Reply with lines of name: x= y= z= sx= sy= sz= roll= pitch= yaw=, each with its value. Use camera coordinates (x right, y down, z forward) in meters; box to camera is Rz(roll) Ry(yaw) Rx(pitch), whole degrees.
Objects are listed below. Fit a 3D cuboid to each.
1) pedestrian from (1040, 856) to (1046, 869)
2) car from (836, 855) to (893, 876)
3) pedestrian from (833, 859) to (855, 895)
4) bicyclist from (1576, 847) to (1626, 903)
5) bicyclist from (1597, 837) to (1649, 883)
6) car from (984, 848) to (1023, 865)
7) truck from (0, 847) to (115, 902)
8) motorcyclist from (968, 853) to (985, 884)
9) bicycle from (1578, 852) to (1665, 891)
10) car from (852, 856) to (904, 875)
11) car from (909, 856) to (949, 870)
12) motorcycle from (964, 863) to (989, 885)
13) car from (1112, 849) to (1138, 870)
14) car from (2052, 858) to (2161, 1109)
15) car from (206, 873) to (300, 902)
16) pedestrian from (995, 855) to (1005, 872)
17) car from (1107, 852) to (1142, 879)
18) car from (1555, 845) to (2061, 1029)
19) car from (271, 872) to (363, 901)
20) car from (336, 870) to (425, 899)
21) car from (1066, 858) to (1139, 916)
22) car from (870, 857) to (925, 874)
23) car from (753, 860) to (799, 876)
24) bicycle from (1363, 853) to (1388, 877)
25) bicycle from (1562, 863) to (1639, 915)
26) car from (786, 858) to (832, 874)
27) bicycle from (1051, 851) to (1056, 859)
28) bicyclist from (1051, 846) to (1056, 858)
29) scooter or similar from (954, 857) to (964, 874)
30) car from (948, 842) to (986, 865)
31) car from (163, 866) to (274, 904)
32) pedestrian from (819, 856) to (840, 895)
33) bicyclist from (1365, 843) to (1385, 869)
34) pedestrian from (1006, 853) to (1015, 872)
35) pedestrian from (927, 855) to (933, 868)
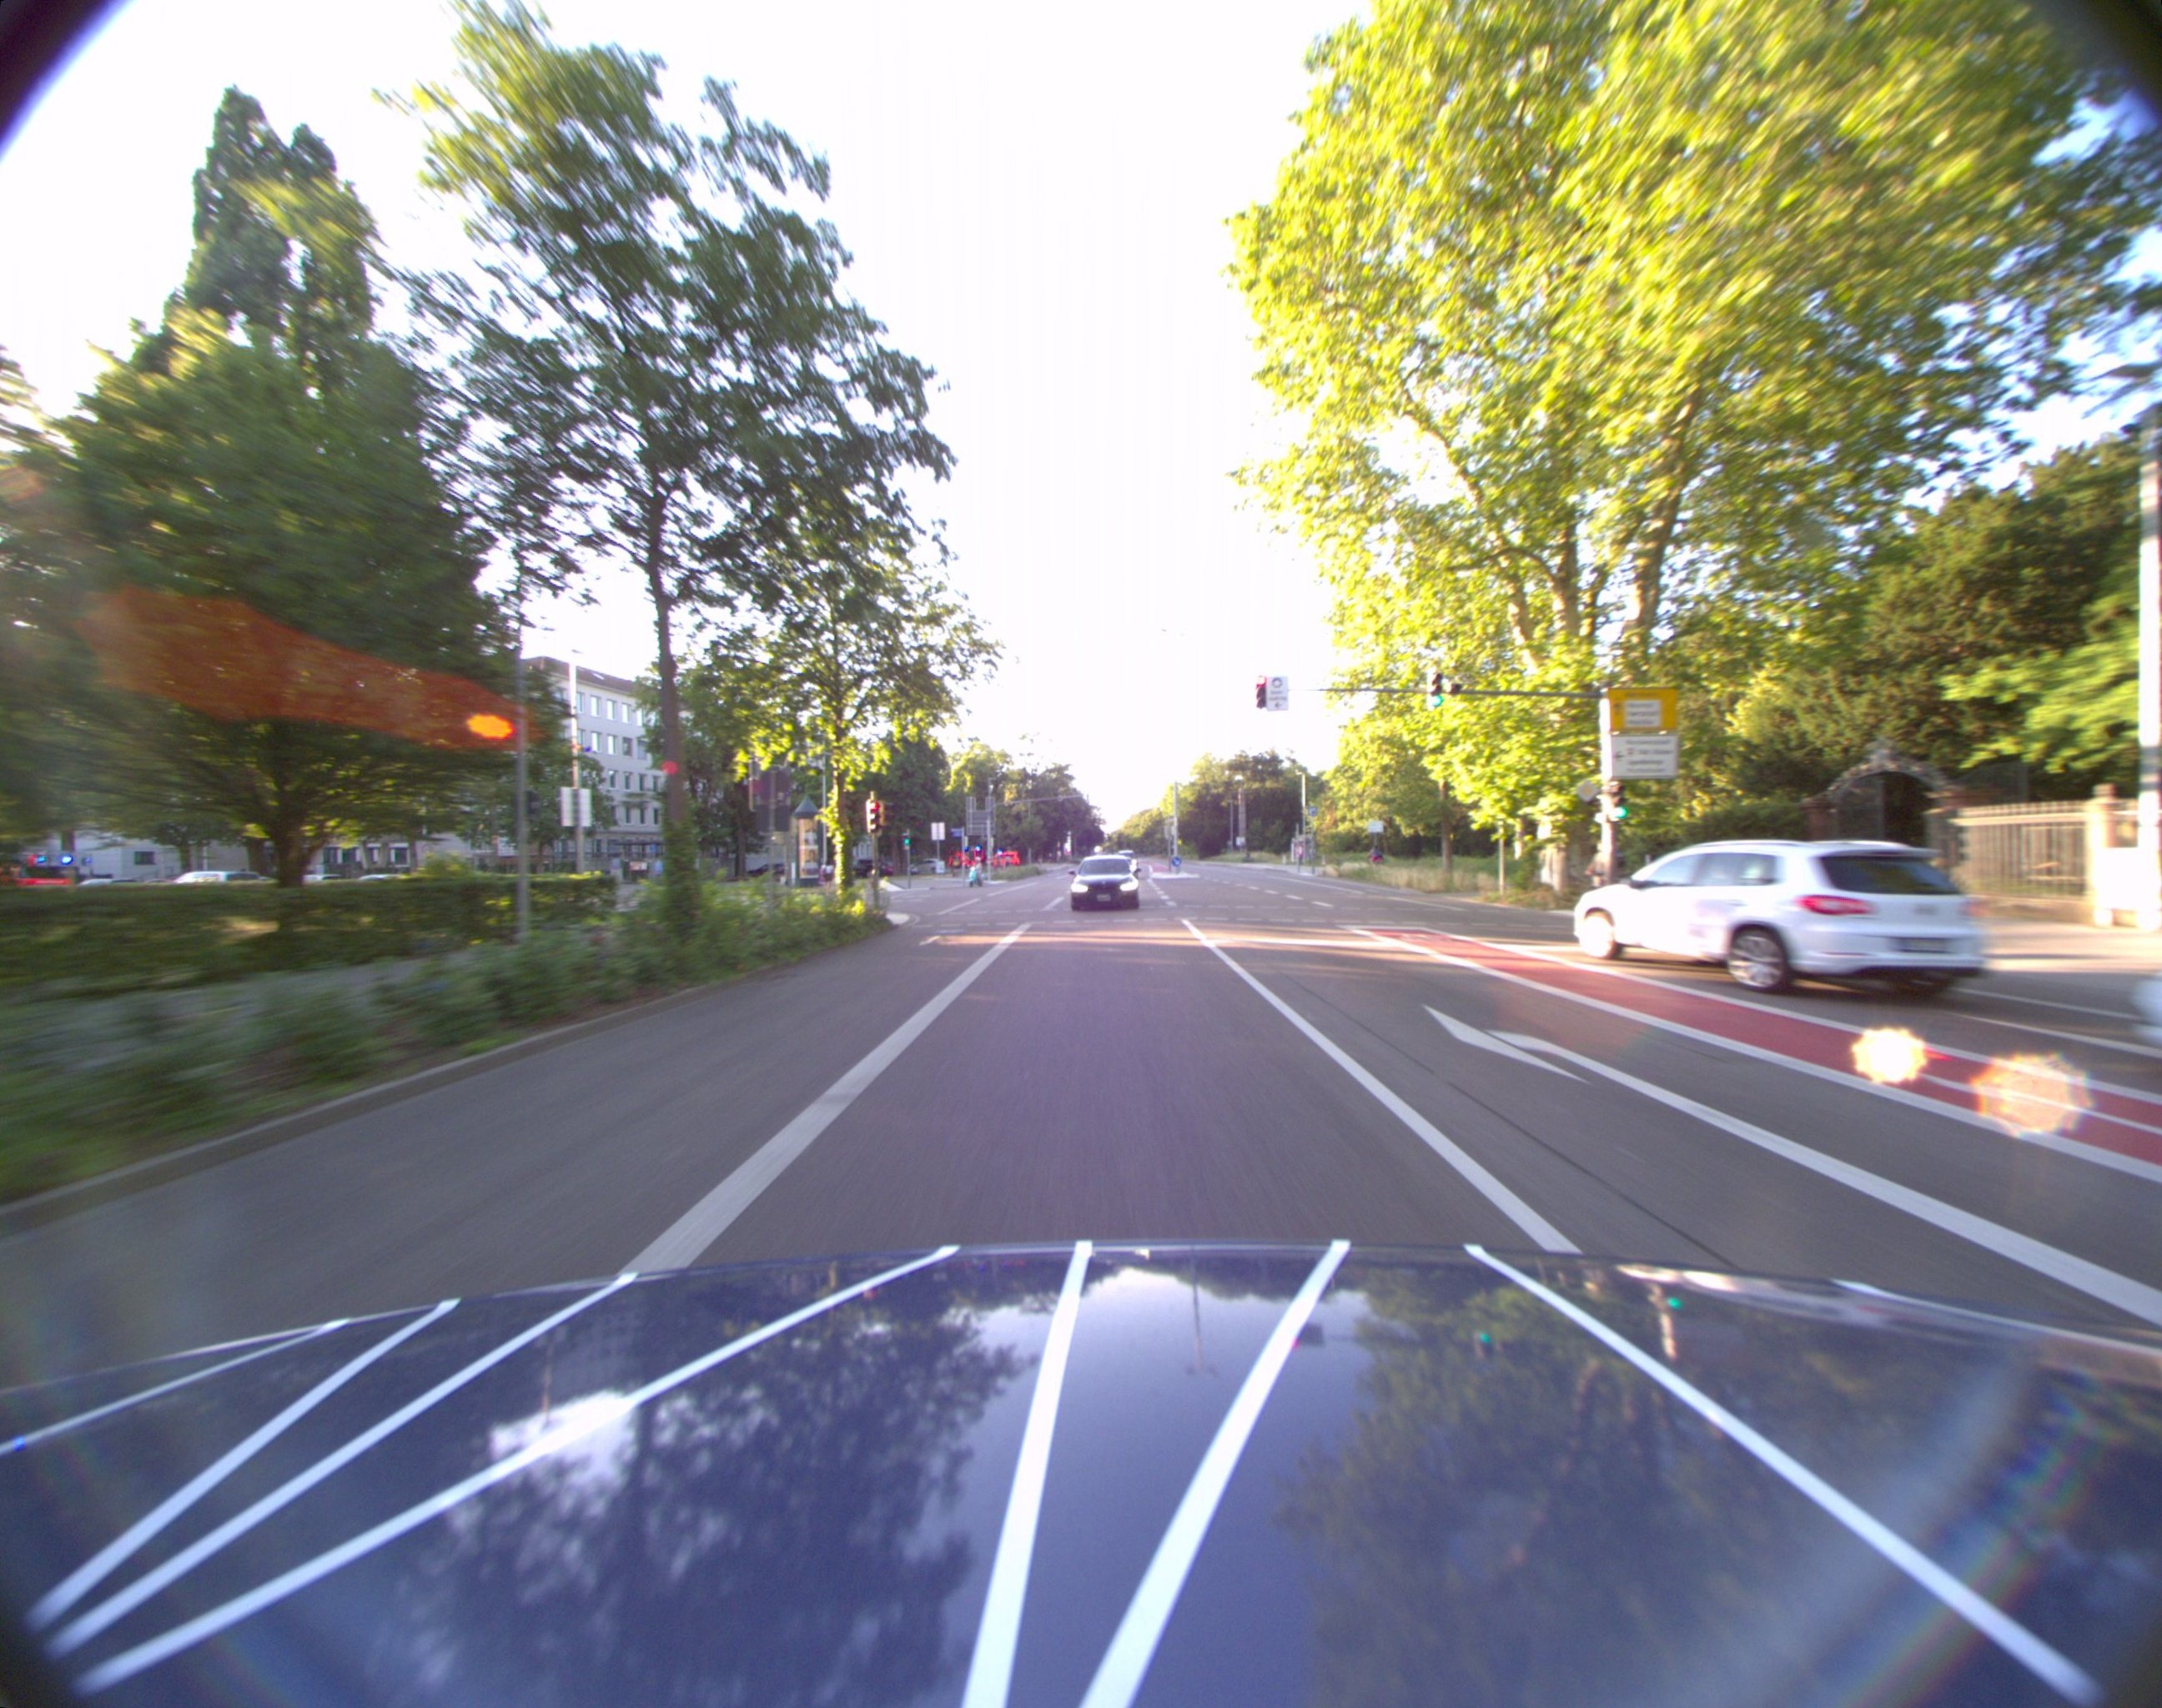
pedestrian: x=-4.671 y=1.009 z=93.840 sx=0.682 sy=1.613 sz=0.689 roll=-1 pitch=0 yaw=5
car: x=-18.370 y=0.961 z=64.628 sx=4.232 sy=1.730 sz=1.920 roll=-1 pitch=1 yaw=10
pedestrian: x=-10.908 y=1.040 z=35.030 sx=0.682 sy=1.613 sz=0.845 roll=-1 pitch=0 yaw=5
bicyclist: x=12.943 y=0.520 z=18.922 sx=0.839 sy=1.353 sz=0.572 roll=-1 pitch=1 yaw=-9
bicyclist: x=18.083 y=0.202 z=25.364 sx=0.859 sy=1.425 sz=0.941 roll=0 pitch=7 yaw=-21
car: x=-11.055 y=0.319 z=108.348 sx=5.162 sy=2.379 sz=2.001 roll=-1 pitch=1 yaw=7
truck: x=-64.323 y=1.261 z=45.809 sx=10.260 sy=3.122 sz=2.642 roll=-1 pitch=1 yaw=8
motorcyclist: x=-5.940 y=0.829 z=43.221 sx=0.739 sy=1.727 sz=0.691 roll=-2 pitch=0 yaw=14
bicycle: x=18.052 y=0.562 z=25.445 sx=0.859 sy=1.011 sz=2.191 roll=0 pitch=7 yaw=-21
car: x=-18.005 y=1.004 z=67.446 sx=3.993 sy=1.601 sz=1.920 roll=-1 pitch=1 yaw=12
car: x=-15.947 y=0.940 z=79.785 sx=3.661 sy=1.451 sz=1.665 roll=-1 pitch=1 yaw=9
motorcycle: x=-5.926 y=1.140 z=43.219 sx=0.683 sy=1.190 sz=1.896 roll=-2 pitch=0 yaw=14
car: x=3.456 y=0.399 z=59.949 sx=1.850 sy=1.473 sz=4.704 roll=-4 pitch=0 yaw=2
car: x=7.764 y=0.840 z=2.982 sx=1.921 sy=1.574 sz=4.674 roll=1 pitch=0 yaw=1
car: x=-51.207 y=2.058 z=47.035 sx=3.994 sy=1.630 sz=2.001 roll=-1 pitch=1 yaw=8
pedestrian: x=-7.088 y=0.827 z=66.712 sx=0.737 sy=1.514 sz=0.789 roll=-1 pitch=1 yaw=0
car: x=2.528 y=0.632 z=44.192 sx=1.850 sy=1.346 sz=4.704 roll=-4 pitch=0 yaw=3
car: x=8.102 y=0.752 z=9.247 sx=1.921 sy=1.686 sz=4.426 roll=1 pitch=0 yaw=1
car: x=-46.337 y=1.962 z=46.129 sx=3.994 sy=1.602 sz=2.001 roll=-1 pitch=1 yaw=11
car: x=-41.774 y=1.803 z=45.351 sx=3.993 sy=1.630 sz=1.902 roll=-1 pitch=1 yaw=12
car: x=0.690 y=0.839 z=21.559 sx=1.817 sy=1.391 sz=5.214 roll=-1 pitch=0 yaw=3
car: x=-17.010 y=1.034 z=70.414 sx=4.514 sy=1.455 sz=1.920 roll=-1 pitch=1 yaw=7
car: x=-28.926 y=1.341 z=72.160 sx=3.623 sy=1.451 sz=1.771 roll=-1 pitch=1 yaw=6
bicycle: x=16.492 y=0.593 z=42.599 sx=0.791 sy=1.249 sz=1.980 roll=-1 pitch=1 yaw=4
bicycle: x=12.940 y=0.861 z=18.949 sx=1.632 sy=1.222 sz=0.572 roll=-1 pitch=1 yaw=-9
car: x=-27.765 y=1.257 z=77.555 sx=3.910 sy=1.513 sz=1.919 roll=-1 pitch=1 yaw=13
bicycle: x=-3.941 y=0.150 z=108.845 sx=0.571 sy=1.233 sz=1.899 roll=-1 pitch=0 yaw=5
bicyclist: x=-3.946 y=-0.272 z=108.852 sx=0.571 sy=1.623 sz=1.038 roll=-1 pitch=1 yaw=5
scooter or similar: x=-9.384 y=0.910 z=58.509 sx=0.441 sy=1.264 sz=1.179 roll=-1 pitch=1 yaw=4
car: x=-16.551 y=-0.077 z=111.275 sx=2.769 sy=3.225 sz=8.304 roll=-1 pitch=0 yaw=11
car: x=-49.808 y=1.758 z=43.919 sx=4.490 sy=1.851 sz=2.057 roll=-3 pitch=0 yaw=8
pedestrian: x=-11.625 y=0.988 z=35.124 sx=0.682 sy=1.744 sz=0.689 roll=-1 pitch=0 yaw=5
bicyclist: x=16.478 y=0.120 z=42.567 sx=0.791 sy=1.419 sz=0.892 roll=-1 pitch=1 yaw=4
pedestrian: x=-6.188 y=0.737 z=66.451 sx=0.721 sy=1.650 sz=0.776 roll=-1 pitch=1 yaw=-1
pedestrian: x=-22.217 y=1.086 z=111.860 sx=0.682 sy=1.831 sz=0.846 roll=-1 pitch=0 yaw=6
